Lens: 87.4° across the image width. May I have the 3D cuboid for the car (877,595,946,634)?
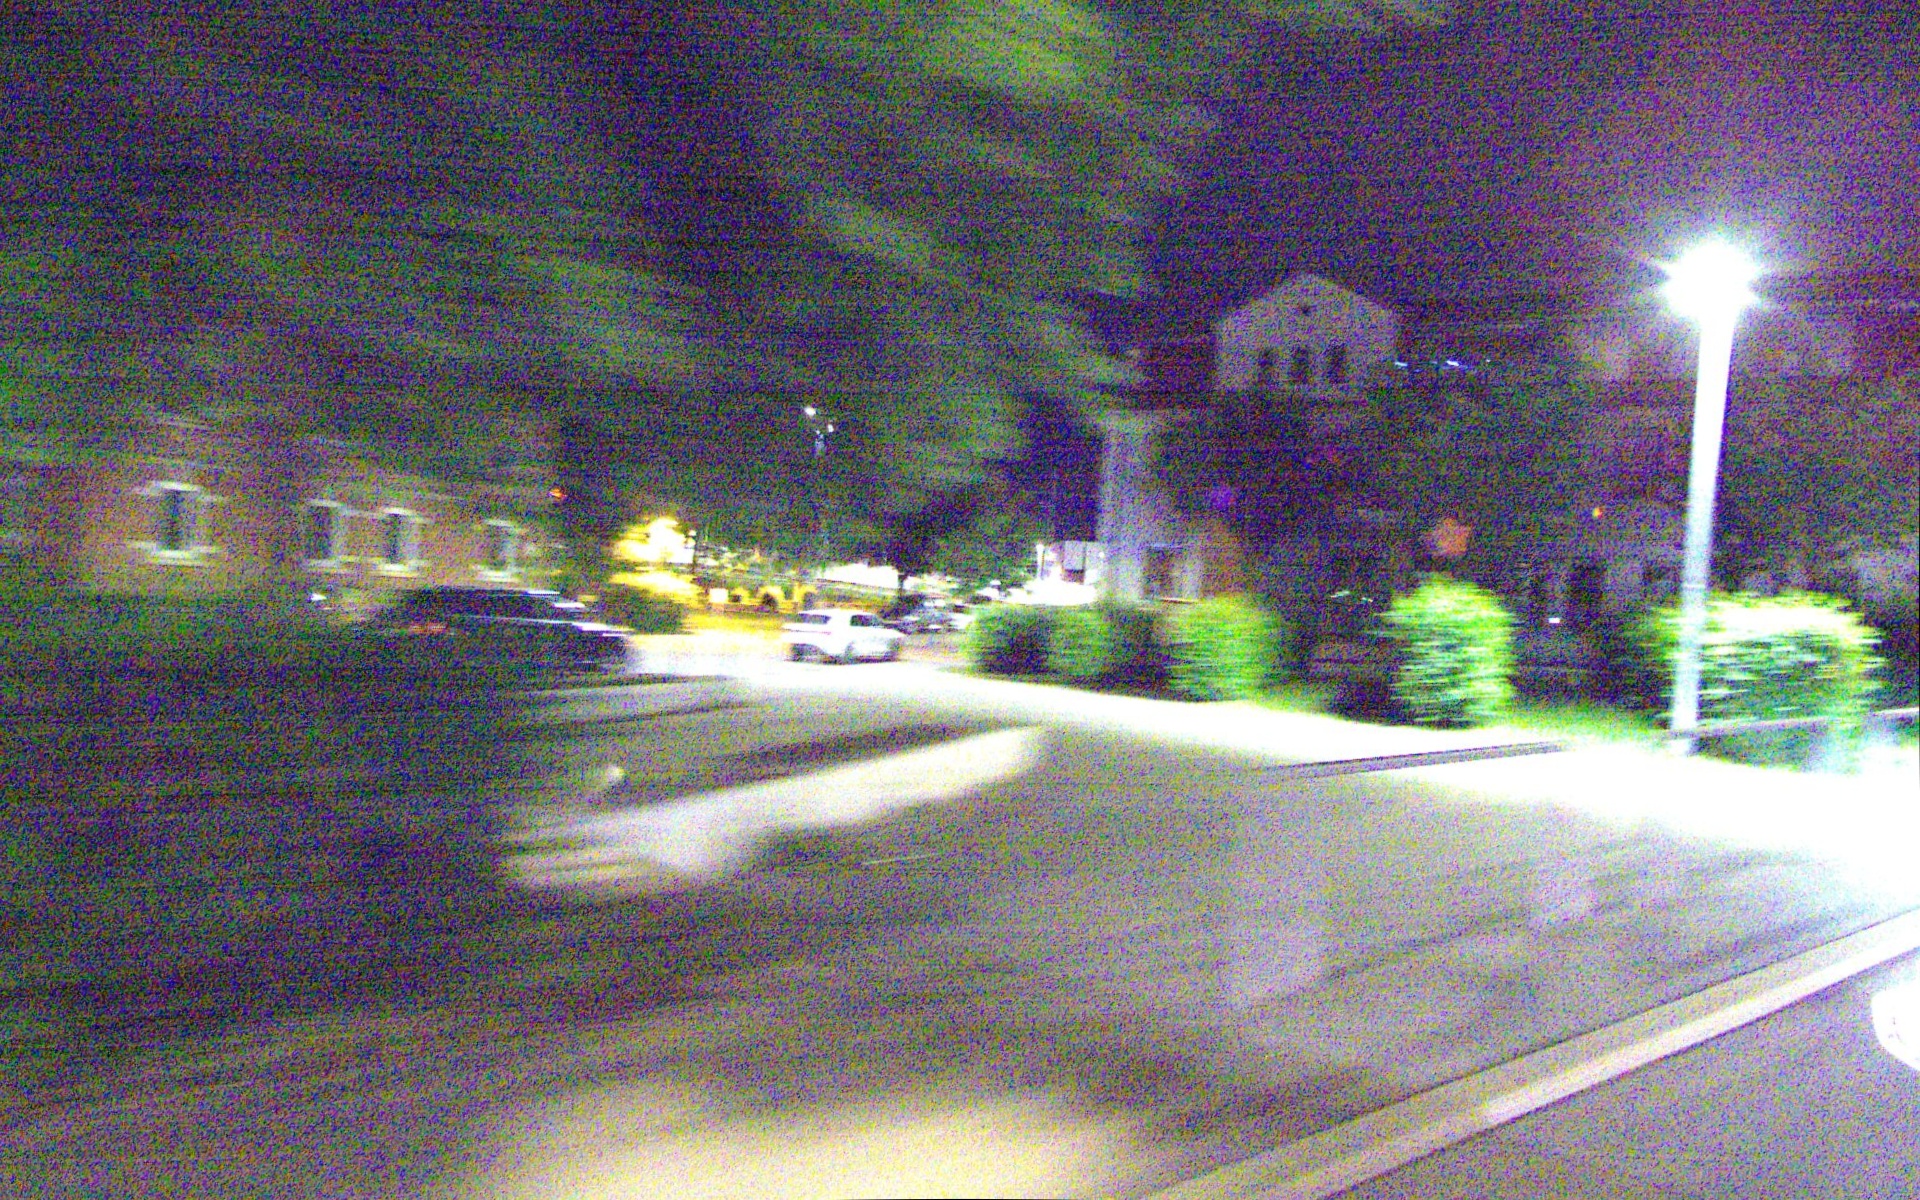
[{"bbox_3d":[-2.331,0.746,49.421,1.612,1.783,3.960,3,-1,26],"label":"car"}]

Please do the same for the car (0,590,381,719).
[{"bbox_3d":[-10.477,0.638,13.389,1.852,1.433,4.467,1,-1,28],"label":"car"}]

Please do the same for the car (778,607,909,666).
[{"bbox_3d":[-3.197,0.993,28.353,1.731,1.464,4.022,2,0,26],"label":"car"}]

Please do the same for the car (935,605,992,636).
[{"bbox_3d":[0.235,1.129,54.914,1.582,1.536,3.805,3,-1,25],"label":"car"}]

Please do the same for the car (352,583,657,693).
[{"bbox_3d":[-8.076,0.657,18.395,2.009,1.717,4.876,1,-1,27],"label":"car"}]

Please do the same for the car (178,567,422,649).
[{"bbox_3d":[-14.184,0.210,21.851,1.678,1.530,4.096,4,0,26],"label":"car"}]
